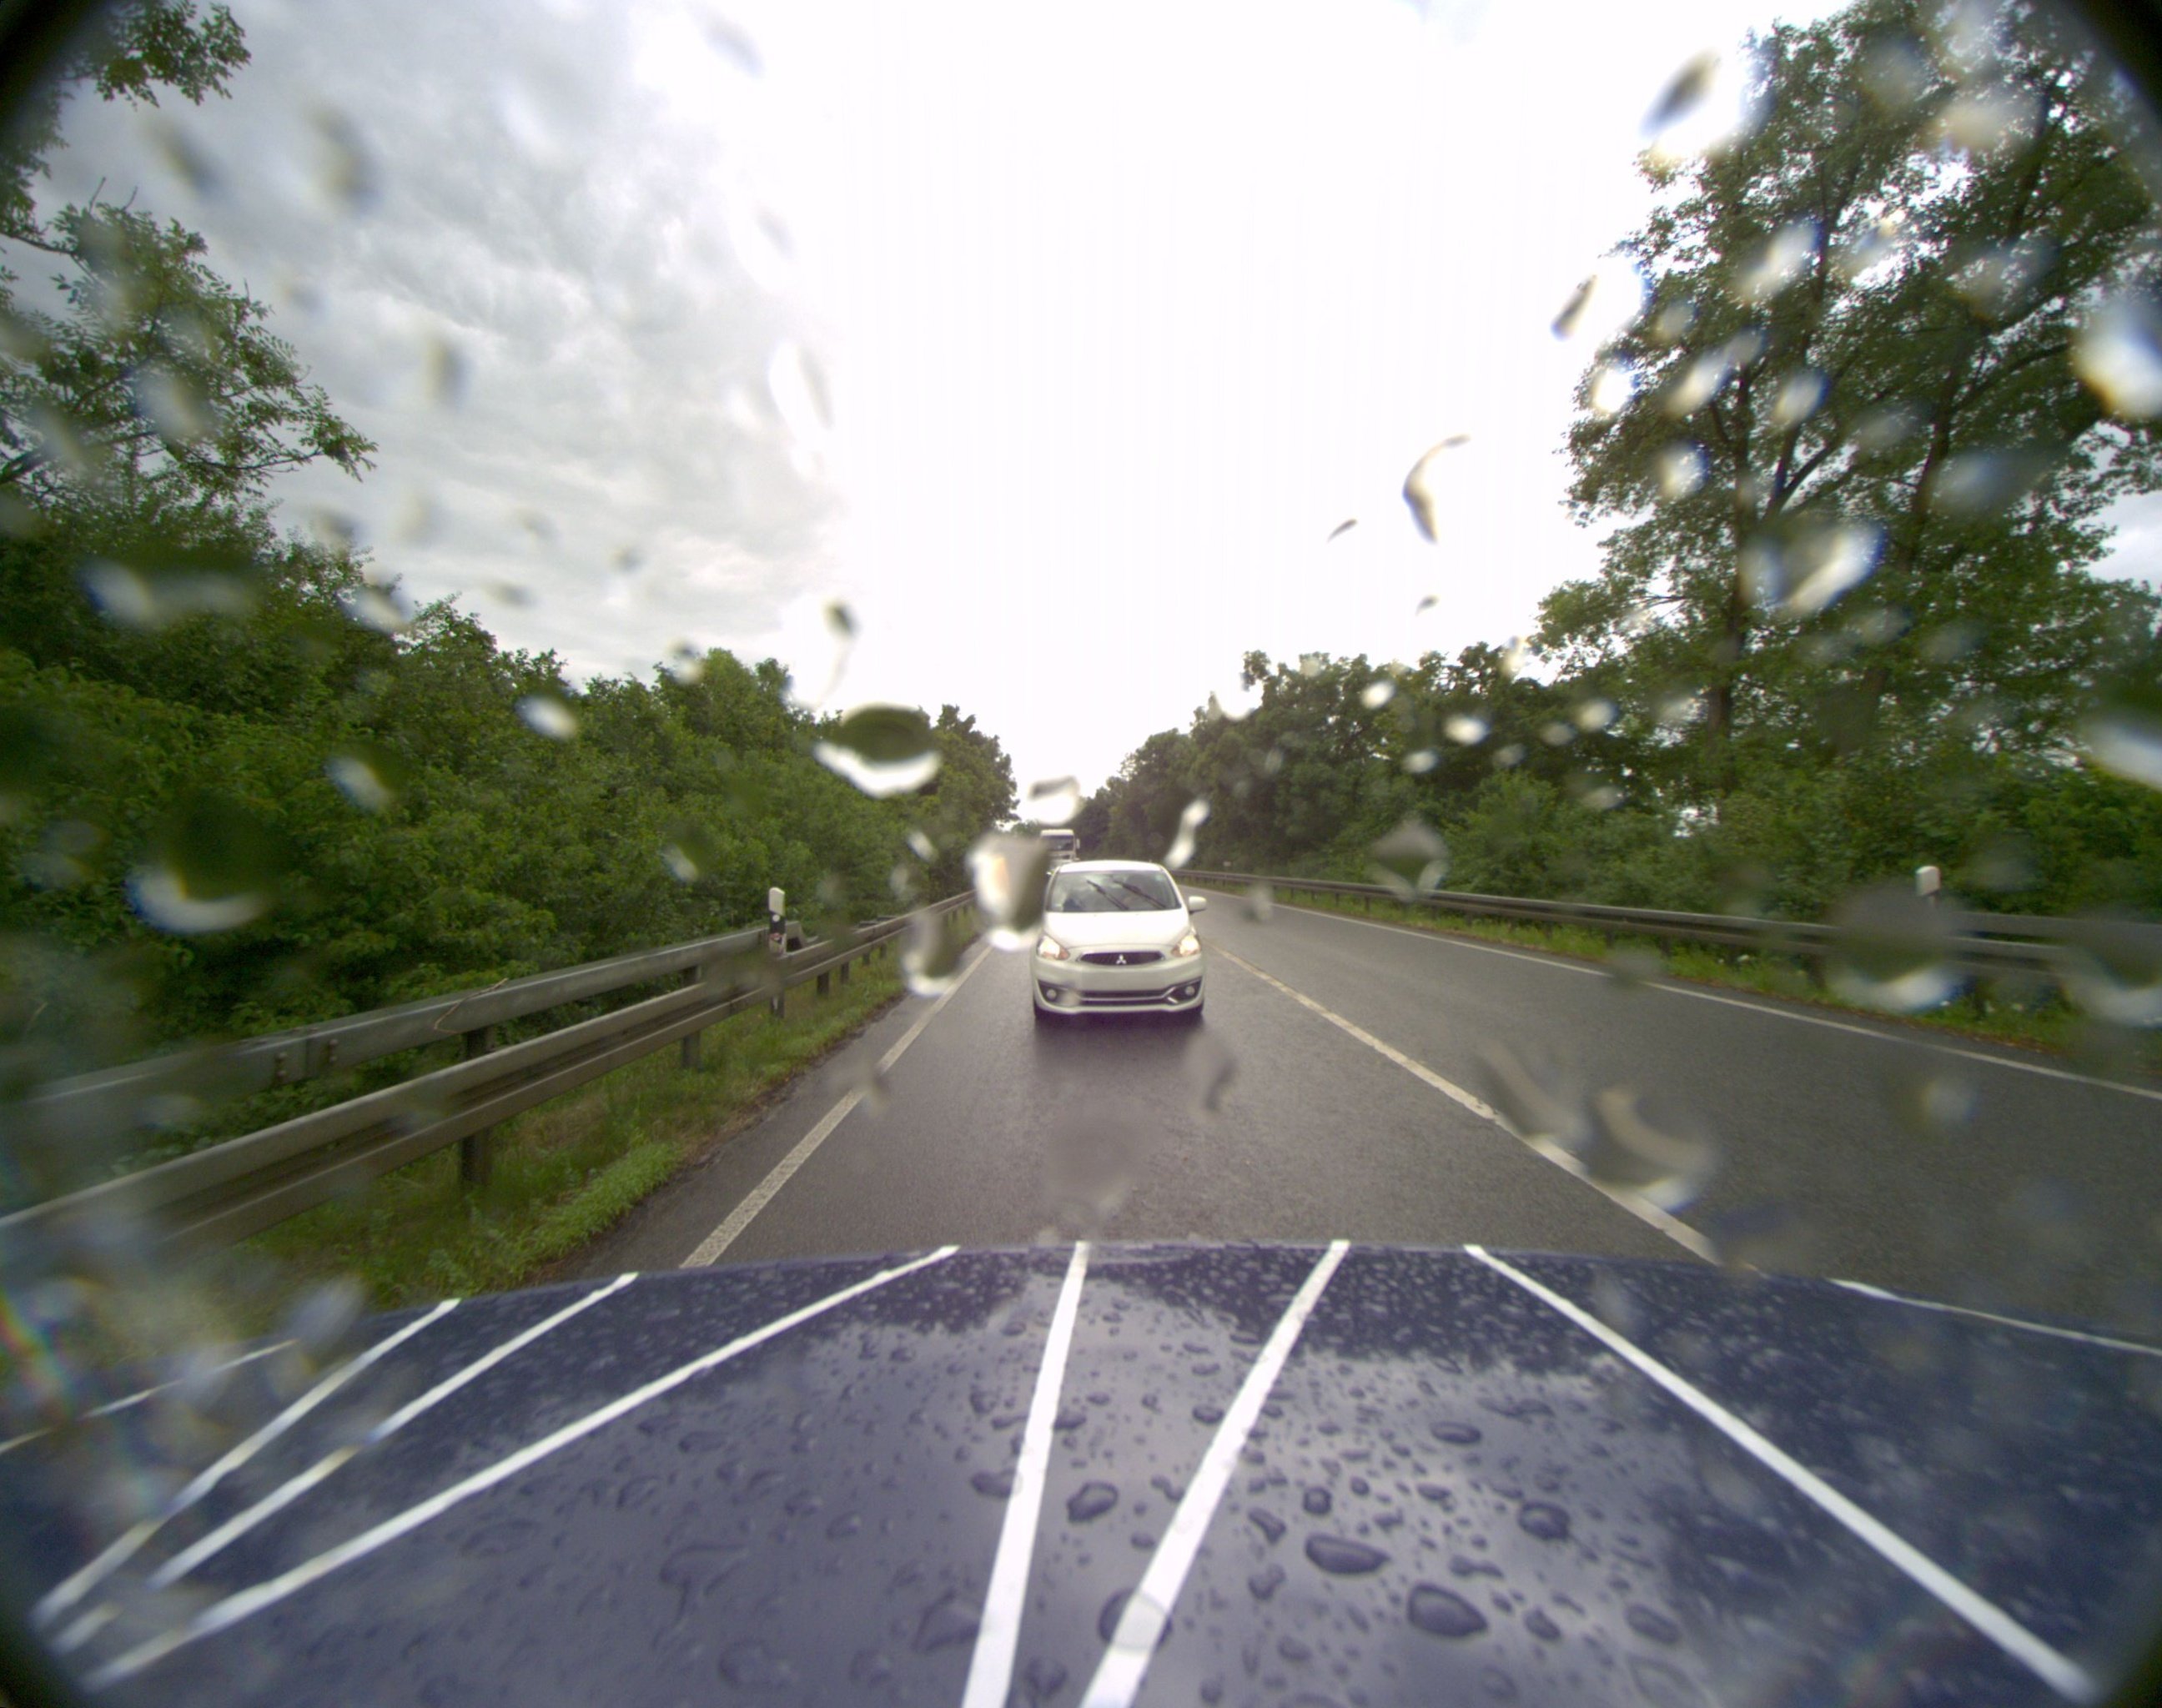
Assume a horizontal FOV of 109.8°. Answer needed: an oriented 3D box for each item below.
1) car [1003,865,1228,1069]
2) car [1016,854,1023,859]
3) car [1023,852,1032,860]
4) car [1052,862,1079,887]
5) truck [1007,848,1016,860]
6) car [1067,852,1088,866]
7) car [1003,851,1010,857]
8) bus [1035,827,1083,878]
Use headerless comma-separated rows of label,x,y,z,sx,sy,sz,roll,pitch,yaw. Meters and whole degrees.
car,0.279,0.904,7.889,1.701,1.471,4.063,-1,0,0
car,-13.542,0.576,166.494,1.146,1.123,2.550,-2,0,-12
car,-10.860,0.436,153.115,1.421,1.611,3.476,-2,0,-9
car,-0.895,1.168,44.009,1.476,1.410,3.428,-1,-1,-2
truck,-16.749,-0.003,183.479,1.481,2.860,5.679,-2,0,-12
car,-0.408,0.582,84.590,1.820,1.445,4.045,-1,0,-7
car,-19.068,-0.038,193.931,1.535,1.459,3.072,-2,0,-11
bus,-1.934,-0.094,58.663,3.064,3.405,13.635,-1,0,-4
